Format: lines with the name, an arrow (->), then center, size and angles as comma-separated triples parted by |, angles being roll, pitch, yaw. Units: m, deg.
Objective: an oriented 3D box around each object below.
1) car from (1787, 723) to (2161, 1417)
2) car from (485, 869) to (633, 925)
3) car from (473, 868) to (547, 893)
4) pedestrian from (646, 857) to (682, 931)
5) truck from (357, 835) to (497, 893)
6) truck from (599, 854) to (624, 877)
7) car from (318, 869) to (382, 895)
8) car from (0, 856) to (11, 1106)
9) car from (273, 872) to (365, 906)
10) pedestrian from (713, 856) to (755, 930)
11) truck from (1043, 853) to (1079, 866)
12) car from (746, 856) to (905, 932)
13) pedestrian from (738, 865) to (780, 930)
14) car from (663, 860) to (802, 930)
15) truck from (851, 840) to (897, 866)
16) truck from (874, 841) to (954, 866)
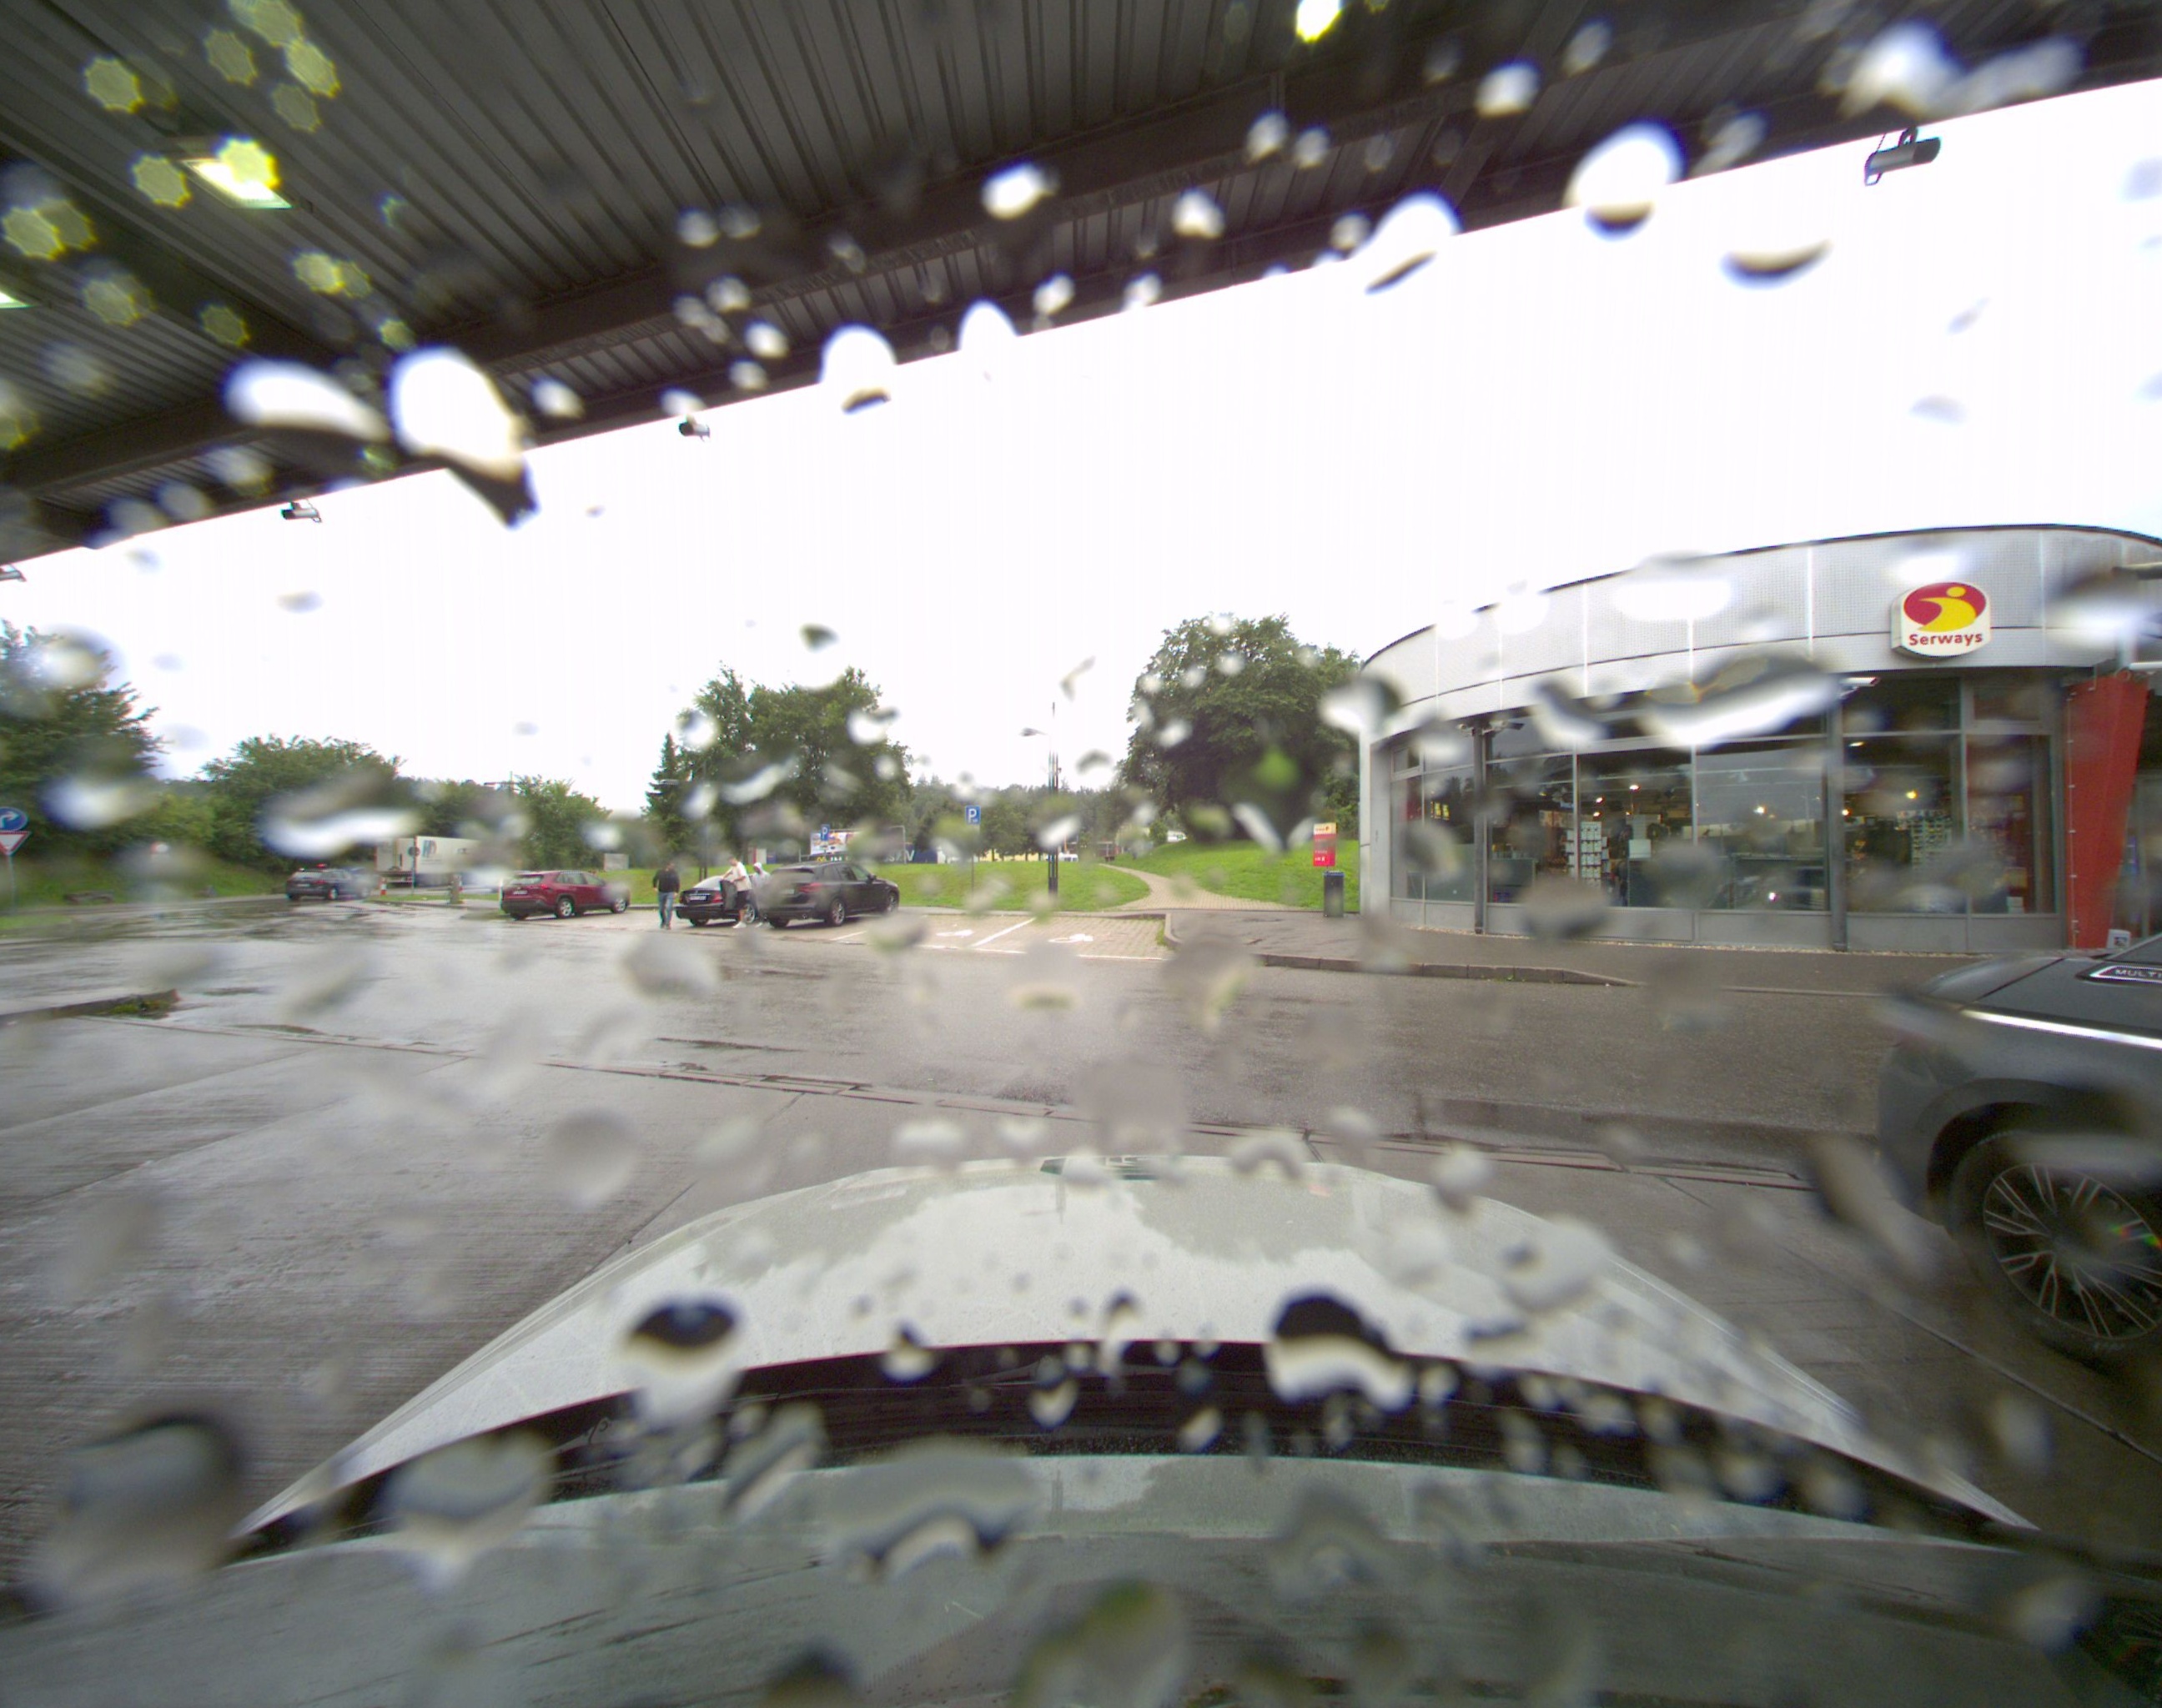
car -> 3.675, 0.542, 0.665 | 1.854, 1.798, 5.142 | 0, -1, 2
car -> -18.137, 1.442, 28.579 | 1.928, 1.644, 4.352 | -2, 0, 7
car -> -39.887, 1.805, 56.997 | 1.758, 1.628, 4.017 | -1, -1, 16
pedestrian -> -11.053, 1.038, 21.602 | 0.703, 1.887, 0.888 | 0, -1, -18
truck -> -55.445, 0.843, 69.963 | 3.550, 4.340, 16.899 | 0, -1, -18
truck -> -65.036, 1.638, 112.917 | 2.490, 3.085, 7.295 | 0, -1, -25
car -> -50.344, 1.882, 56.159 | 1.814, 1.681, 3.927 | 0, -1, -18
car -> -7.967, 0.802, 2.663 | 1.854, 1.608, 5.273 | 0, -1, 2
car -> -40.835, 1.846, 43.753 | 1.998, 1.678, 3.977 | -1, -1, -16
pedestrian -> -9.096, 1.004, 21.353 | 0.699, 1.887, 0.953 | 0, -1, -1
truck -> -3.249, 0.879, 134.092 | 5.356, 2.014, 2.381 | -1, -1, 26
car -> -6.649, 0.971, 21.767 | 2.002, 1.711, 4.360 | -2, 0, 14
pedestrian -> -8.341, 1.104, 21.124 | 0.699, 1.631, 0.954 | 0, -1, -1
car -> -9.835, 1.081, 23.411 | 2.010, 1.711, 4.344 | -2, 0, 1
truck -> -24.186, -0.085, 95.442 | 2.165, 2.920, 5.419 | -1, -1, 27
truck -> -20.754, -0.053, 102.334 | 2.165, 2.920, 13.175 | -1, -1, 26
